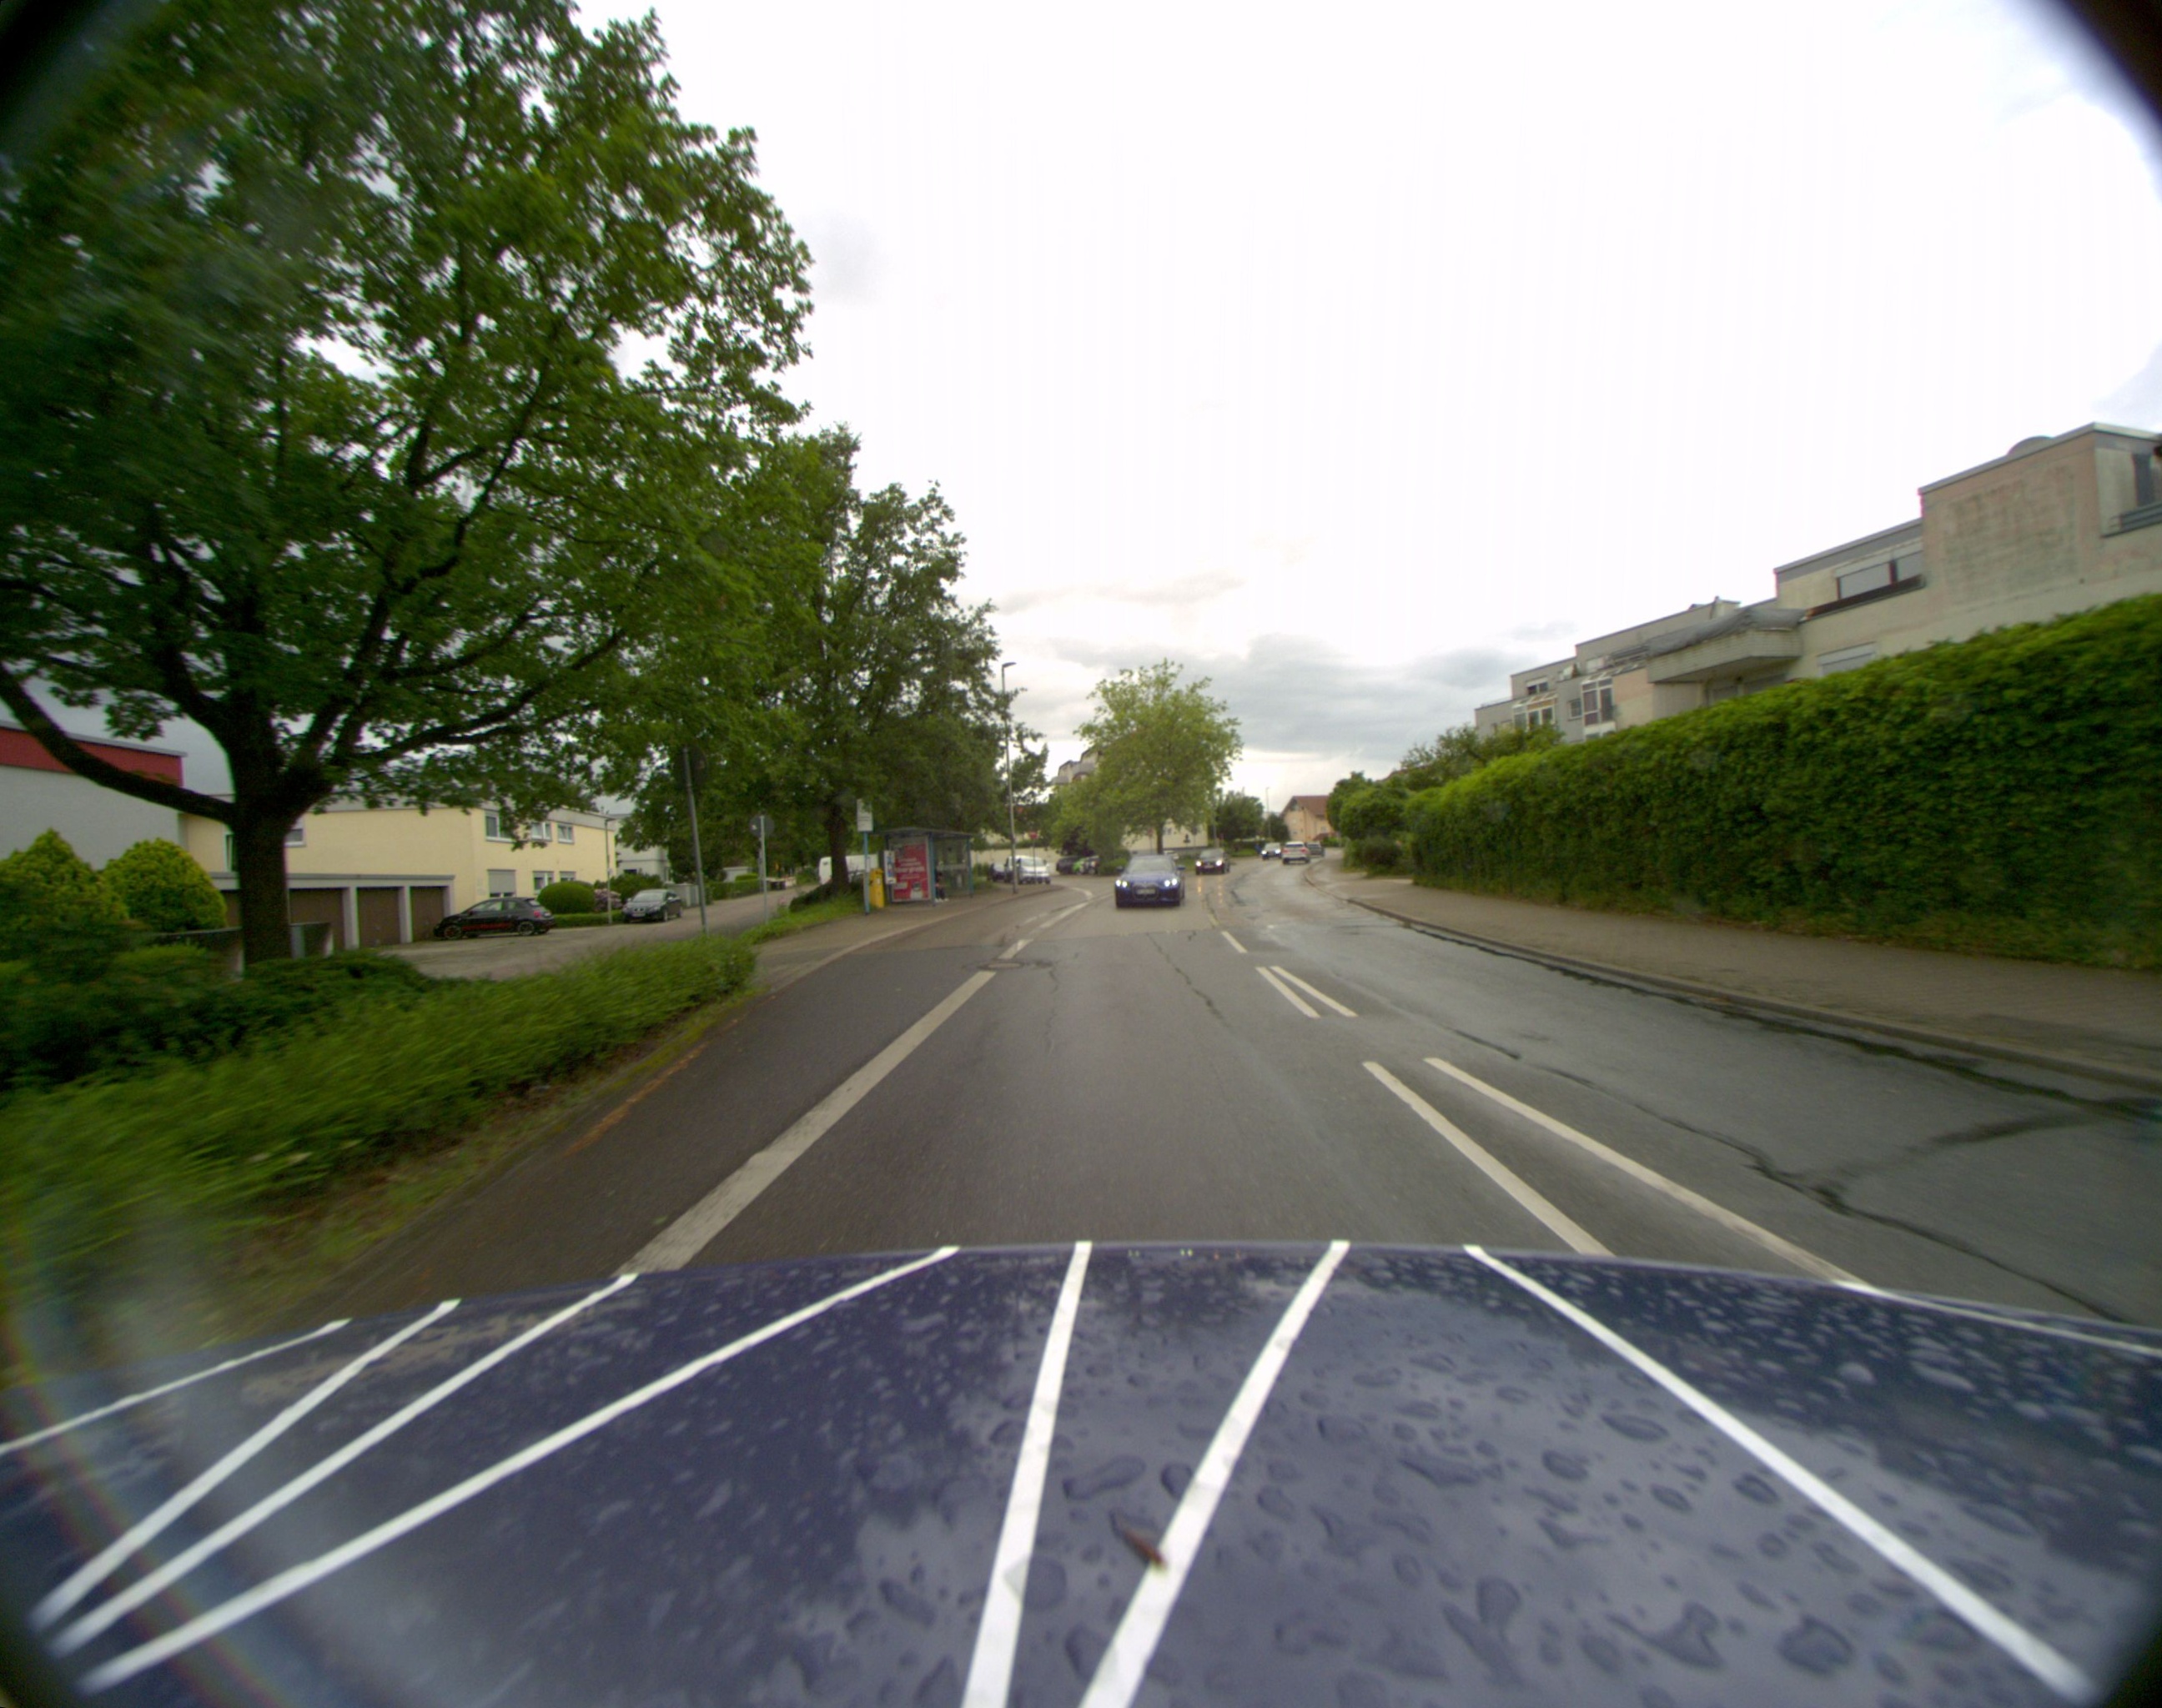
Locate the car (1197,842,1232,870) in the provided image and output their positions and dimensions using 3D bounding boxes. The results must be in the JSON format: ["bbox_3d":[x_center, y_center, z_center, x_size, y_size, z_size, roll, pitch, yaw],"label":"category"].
[{"bbox_3d":[7.997,0.080,45.233,1.839,1.440,4.003,-4,0,12],"label":"car"}]

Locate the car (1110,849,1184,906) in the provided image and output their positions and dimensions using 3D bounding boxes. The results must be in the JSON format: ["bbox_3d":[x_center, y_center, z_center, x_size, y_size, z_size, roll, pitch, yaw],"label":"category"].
[{"bbox_3d":[2.099,0.642,23.084,1.912,1.425,4.303,-3,1,8],"label":"car"}]

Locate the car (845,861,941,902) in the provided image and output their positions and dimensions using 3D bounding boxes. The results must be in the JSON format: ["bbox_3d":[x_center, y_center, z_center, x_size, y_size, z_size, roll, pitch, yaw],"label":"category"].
[{"bbox_3d":[-8.331,1.214,33.896,3.652,1.477,1.761,-4,1,10],"label":"car"}]

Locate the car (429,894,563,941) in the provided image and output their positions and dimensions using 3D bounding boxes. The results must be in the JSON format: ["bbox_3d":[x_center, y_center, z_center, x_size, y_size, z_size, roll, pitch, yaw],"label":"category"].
[{"bbox_3d":[-22.061,2.372,28.806,3.626,1.523,1.760,-1,0,-17],"label":"car"}]

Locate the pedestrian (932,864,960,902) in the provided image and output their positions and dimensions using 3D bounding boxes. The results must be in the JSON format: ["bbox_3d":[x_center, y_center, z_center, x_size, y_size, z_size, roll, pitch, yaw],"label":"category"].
[{"bbox_3d":[-4.720,1.019,26.632,0.728,1.243,0.552,-4,1,12],"label":"pedestrian"}]

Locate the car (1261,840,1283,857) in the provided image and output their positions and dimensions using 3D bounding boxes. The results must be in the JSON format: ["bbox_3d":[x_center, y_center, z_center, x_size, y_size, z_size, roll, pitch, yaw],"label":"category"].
[{"bbox_3d":[19.163,-0.559,76.175,1.838,1.541,4.004,-4,0,17],"label":"car"}]

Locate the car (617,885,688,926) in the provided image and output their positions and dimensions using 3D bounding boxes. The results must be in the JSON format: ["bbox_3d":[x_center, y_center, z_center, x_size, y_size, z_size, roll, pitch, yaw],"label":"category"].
[{"bbox_3d":[-19.838,2.345,35.340,1.693,1.501,3.822,-5,1,-12],"label":"car"}]

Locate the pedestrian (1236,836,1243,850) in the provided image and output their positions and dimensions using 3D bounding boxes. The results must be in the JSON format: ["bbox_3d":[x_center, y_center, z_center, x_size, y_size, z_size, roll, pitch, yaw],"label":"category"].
[{"bbox_3d":[20.767,-1.429,99.492,0.615,1.762,0.670,-5,1,-3],"label":"pedestrian"}]

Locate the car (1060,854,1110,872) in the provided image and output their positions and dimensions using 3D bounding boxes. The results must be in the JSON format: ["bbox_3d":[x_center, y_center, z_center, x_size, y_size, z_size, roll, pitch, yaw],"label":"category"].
[{"bbox_3d":[0.347,0.771,67.035,4.015,1.363,1.766,-3,1,15],"label":"car"}]

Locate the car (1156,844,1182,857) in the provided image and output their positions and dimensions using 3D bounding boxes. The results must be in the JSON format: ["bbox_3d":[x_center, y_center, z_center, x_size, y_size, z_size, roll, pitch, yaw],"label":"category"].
[{"bbox_3d":[10.644,-0.417,91.762,1.747,1.472,3.764,-3,1,-16],"label":"car"}]

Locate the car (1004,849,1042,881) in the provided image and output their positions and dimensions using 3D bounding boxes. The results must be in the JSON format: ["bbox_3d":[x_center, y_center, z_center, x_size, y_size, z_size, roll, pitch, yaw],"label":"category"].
[{"bbox_3d":[-3.833,0.703,49.595,2.000,1.870,4.209,-4,1,-10],"label":"car"}]

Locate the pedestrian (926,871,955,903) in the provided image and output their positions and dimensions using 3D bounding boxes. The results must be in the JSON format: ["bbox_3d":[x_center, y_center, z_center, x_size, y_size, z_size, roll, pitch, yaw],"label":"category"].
[{"bbox_3d":[-4.817,1.130,26.018,0.750,1.006,0.552,-4,1,12],"label":"pedestrian"}]

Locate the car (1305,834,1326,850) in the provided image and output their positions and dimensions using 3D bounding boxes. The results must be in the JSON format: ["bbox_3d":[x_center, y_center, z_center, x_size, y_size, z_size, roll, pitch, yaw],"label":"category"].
[{"bbox_3d":[23.526,-1.247,76.129,1.743,1.406,4.147,-4,1,19],"label":"car"}]

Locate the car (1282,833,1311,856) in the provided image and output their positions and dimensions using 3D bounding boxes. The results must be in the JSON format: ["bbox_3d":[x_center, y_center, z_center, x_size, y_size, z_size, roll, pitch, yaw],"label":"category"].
[{"bbox_3d":[16.505,-0.756,57.976,1.893,1.602,4.870,-4,0,18],"label":"car"}]

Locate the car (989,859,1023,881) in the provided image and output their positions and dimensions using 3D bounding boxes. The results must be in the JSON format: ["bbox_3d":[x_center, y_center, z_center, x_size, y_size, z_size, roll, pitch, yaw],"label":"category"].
[{"bbox_3d":[-5.475,1.113,54.881,1.766,1.375,4.182,-4,1,-14],"label":"car"}]

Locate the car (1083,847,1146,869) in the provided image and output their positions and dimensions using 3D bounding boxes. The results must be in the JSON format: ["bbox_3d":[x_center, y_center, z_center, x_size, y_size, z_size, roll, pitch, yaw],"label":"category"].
[{"bbox_3d":[2.639,0.345,59.963,4.579,1.434,1.766,-3,1,15],"label":"car"}]

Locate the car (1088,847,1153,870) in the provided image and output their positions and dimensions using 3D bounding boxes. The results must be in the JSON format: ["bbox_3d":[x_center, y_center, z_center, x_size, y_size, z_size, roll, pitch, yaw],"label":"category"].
[{"bbox_3d":[2.988,0.314,57.249,4.579,1.434,1.766,-3,1,15],"label":"car"}]

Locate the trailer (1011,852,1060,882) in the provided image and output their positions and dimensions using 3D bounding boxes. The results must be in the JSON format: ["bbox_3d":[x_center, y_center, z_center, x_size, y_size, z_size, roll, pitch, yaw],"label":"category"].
[{"bbox_3d":[-2.672,0.727,43.633,2.000,1.534,4.421,-4,1,-13],"label":"trailer"}]

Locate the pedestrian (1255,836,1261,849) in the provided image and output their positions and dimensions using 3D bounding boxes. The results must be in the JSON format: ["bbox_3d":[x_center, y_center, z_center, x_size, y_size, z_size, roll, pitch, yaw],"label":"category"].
[{"bbox_3d":[21.883,-1.428,93.962,0.590,1.657,0.776,-4,1,4],"label":"pedestrian"}]

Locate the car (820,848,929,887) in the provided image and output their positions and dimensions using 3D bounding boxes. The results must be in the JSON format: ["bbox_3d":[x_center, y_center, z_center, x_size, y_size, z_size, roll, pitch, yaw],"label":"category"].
[{"bbox_3d":[-12.294,0.796,45.348,5.830,2.002,2.001,-3,1,10],"label":"car"}]

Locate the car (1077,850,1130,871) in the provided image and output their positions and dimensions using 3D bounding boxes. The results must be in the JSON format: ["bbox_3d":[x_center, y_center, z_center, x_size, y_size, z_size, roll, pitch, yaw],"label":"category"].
[{"bbox_3d":[1.869,0.545,63.129,4.015,1.434,1.766,-3,1,15],"label":"car"}]
